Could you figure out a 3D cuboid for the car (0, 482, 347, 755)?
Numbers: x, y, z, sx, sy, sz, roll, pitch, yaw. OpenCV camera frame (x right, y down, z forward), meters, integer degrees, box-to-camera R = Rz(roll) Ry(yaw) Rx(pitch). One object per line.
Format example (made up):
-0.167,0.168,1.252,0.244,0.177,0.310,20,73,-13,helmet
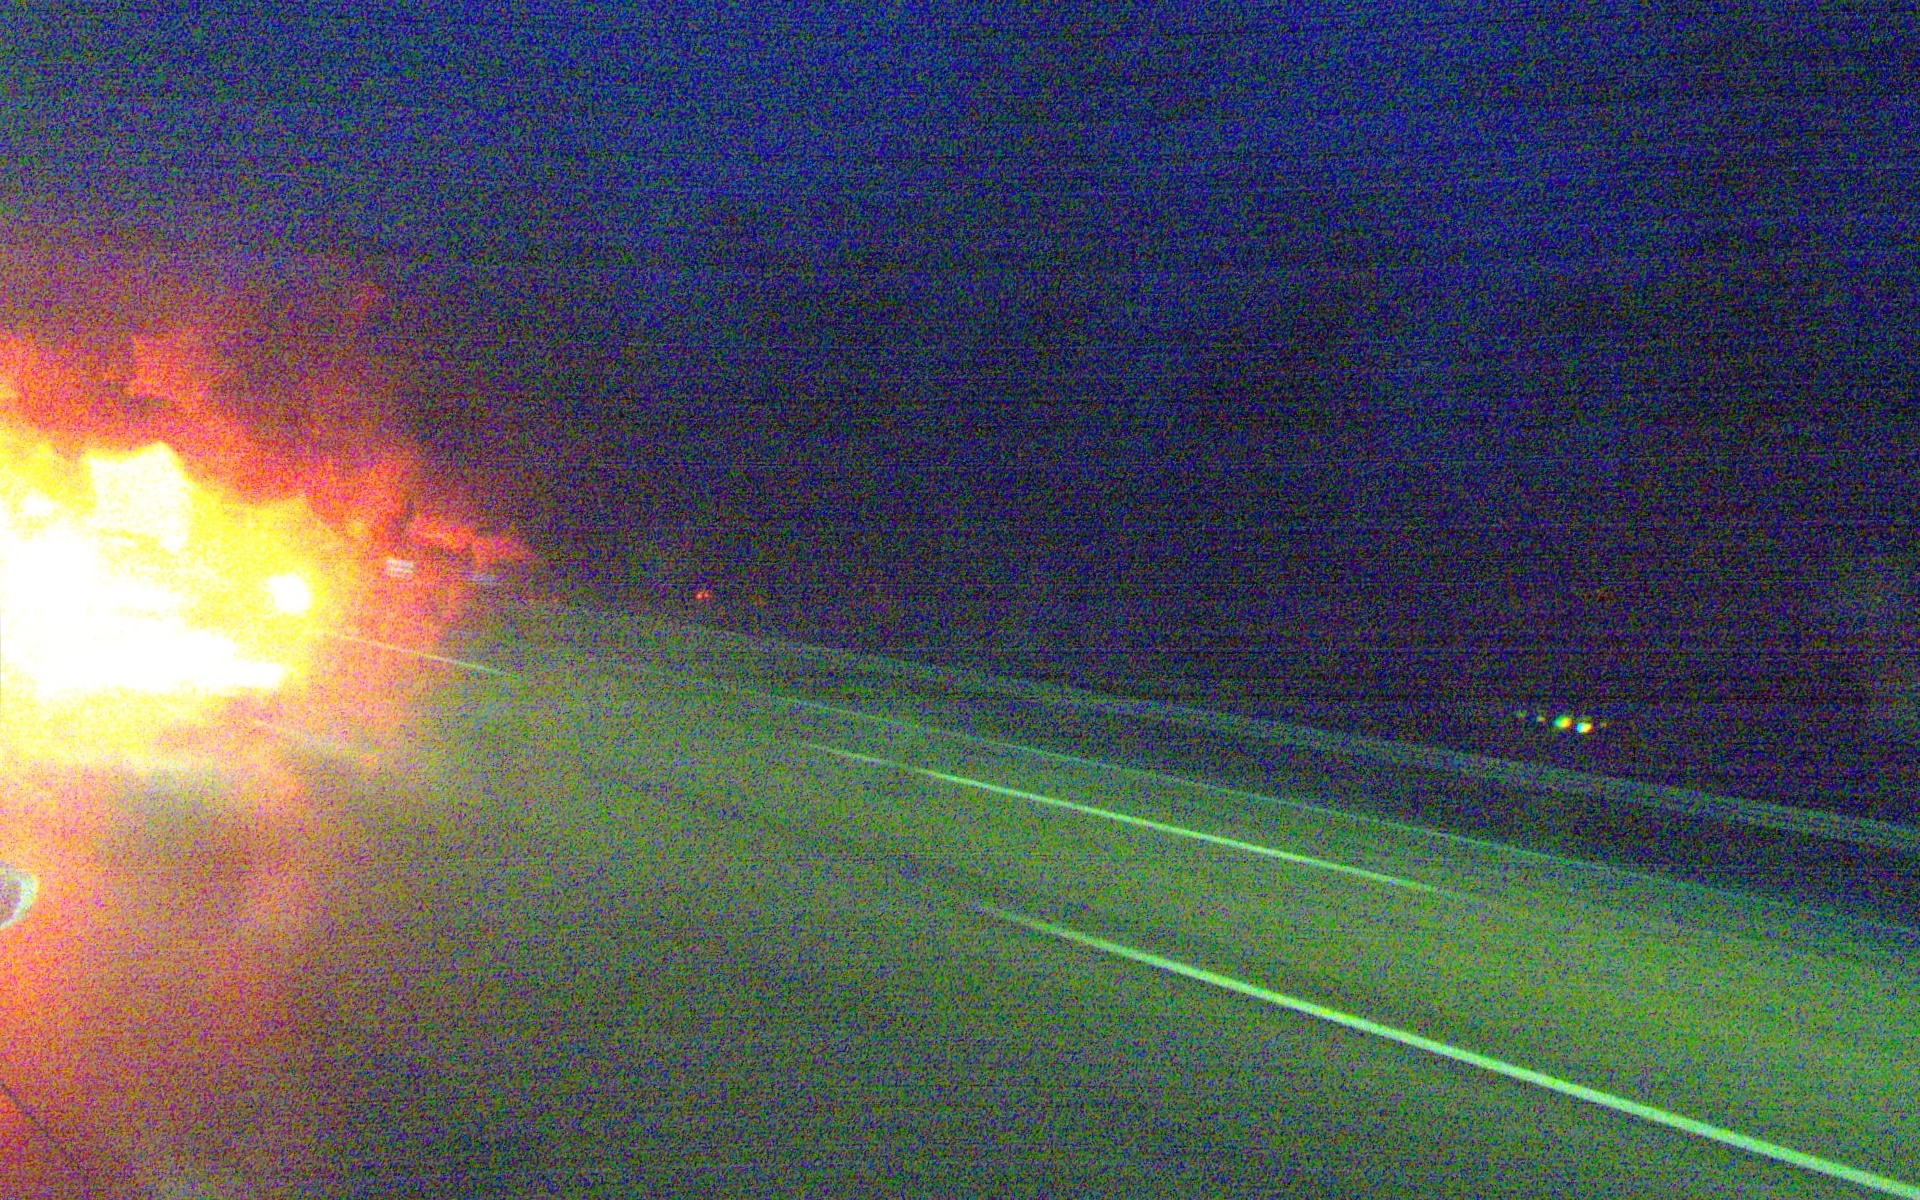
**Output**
-6.826,0.005,7.751,3.934,1.607,1.887,7,-1,32,car
